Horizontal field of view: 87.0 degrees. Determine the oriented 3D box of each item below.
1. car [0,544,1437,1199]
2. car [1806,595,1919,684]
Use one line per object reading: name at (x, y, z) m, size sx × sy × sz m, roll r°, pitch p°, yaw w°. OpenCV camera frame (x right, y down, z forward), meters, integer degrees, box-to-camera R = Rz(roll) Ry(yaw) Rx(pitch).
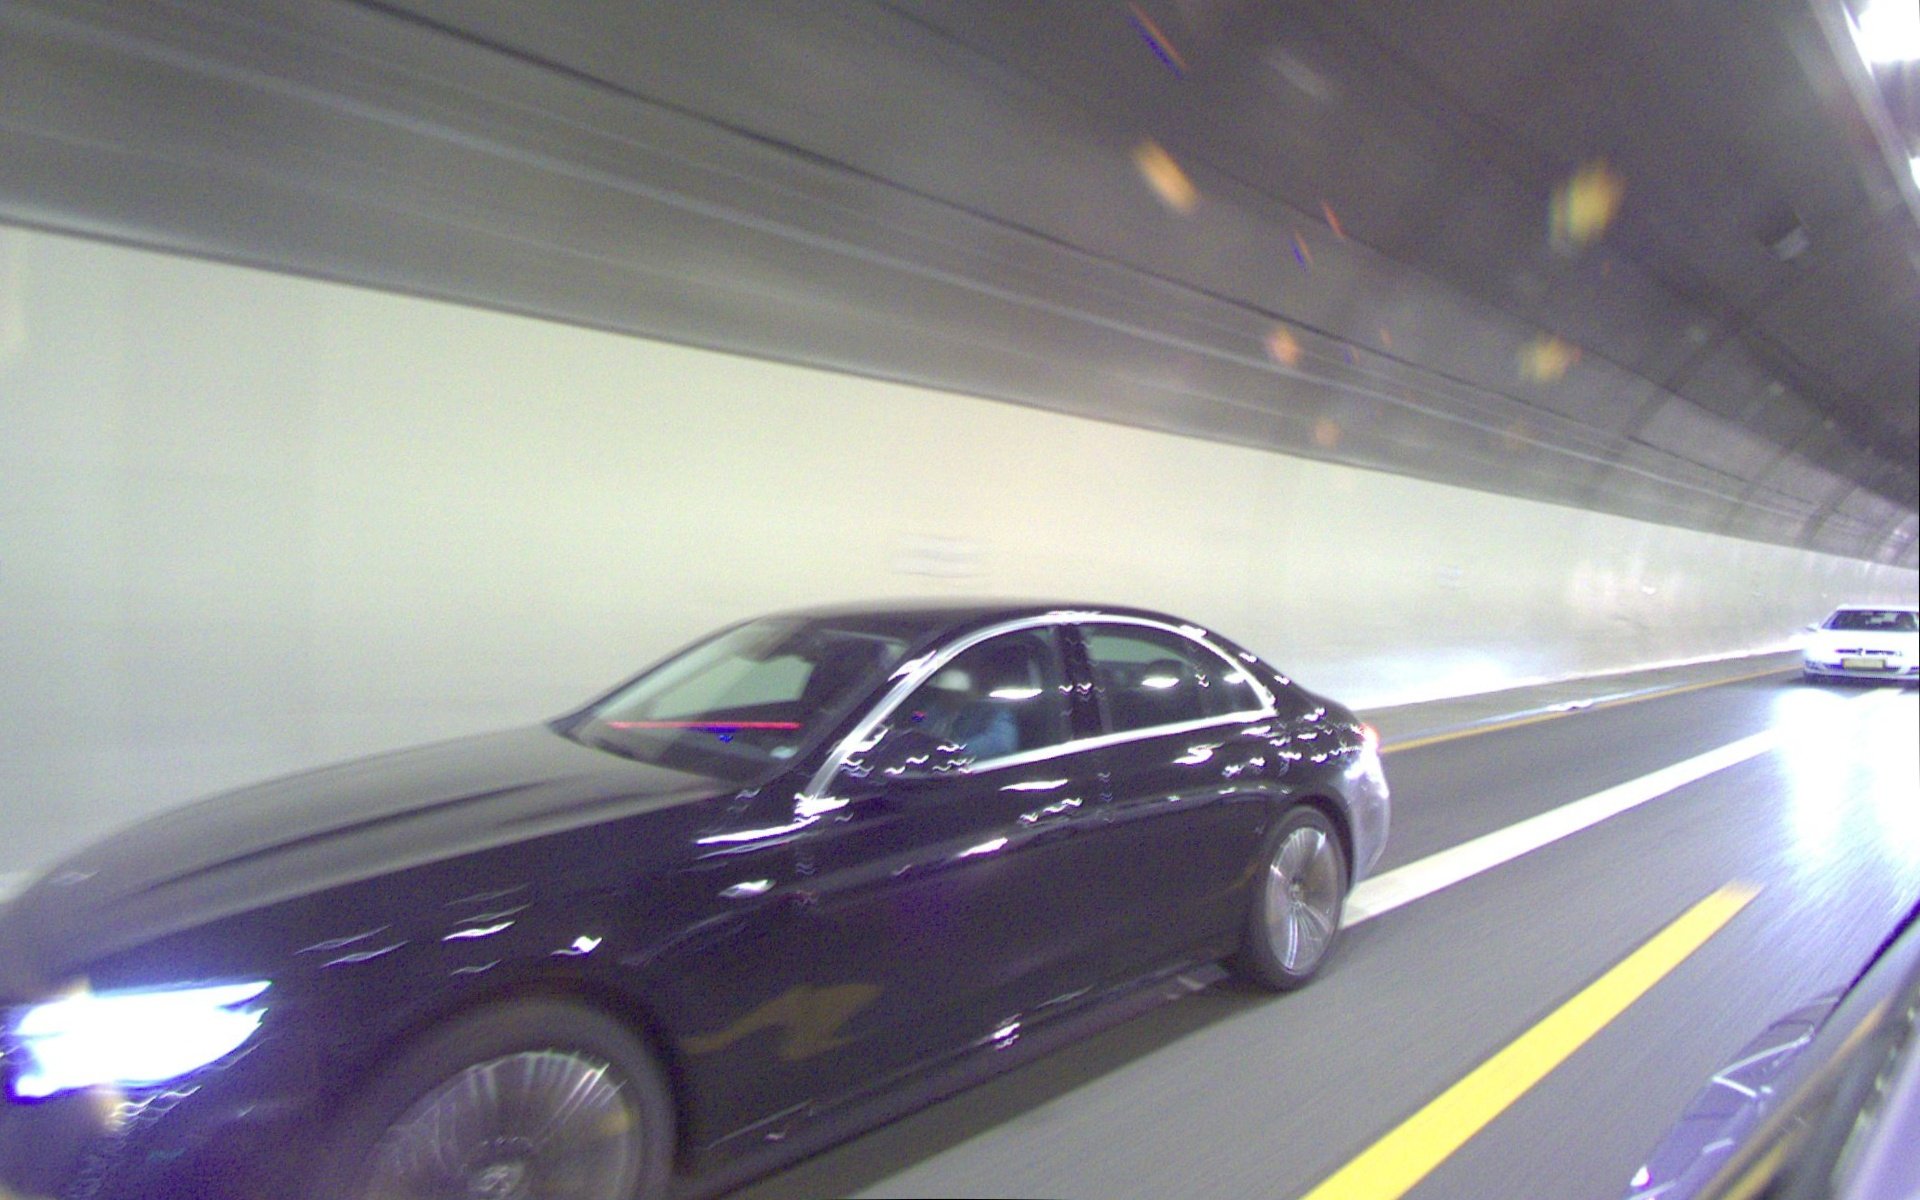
car at (-0.340, 0.650, 3.690) m, size 4.867 × 1.491 × 1.929 m, roll 0°, pitch 0°, yaw -40°
car at (17.248, 0.655, 18.663) m, size 3.961 × 1.479 × 1.801 m, roll 0°, pitch 0°, yaw -39°
